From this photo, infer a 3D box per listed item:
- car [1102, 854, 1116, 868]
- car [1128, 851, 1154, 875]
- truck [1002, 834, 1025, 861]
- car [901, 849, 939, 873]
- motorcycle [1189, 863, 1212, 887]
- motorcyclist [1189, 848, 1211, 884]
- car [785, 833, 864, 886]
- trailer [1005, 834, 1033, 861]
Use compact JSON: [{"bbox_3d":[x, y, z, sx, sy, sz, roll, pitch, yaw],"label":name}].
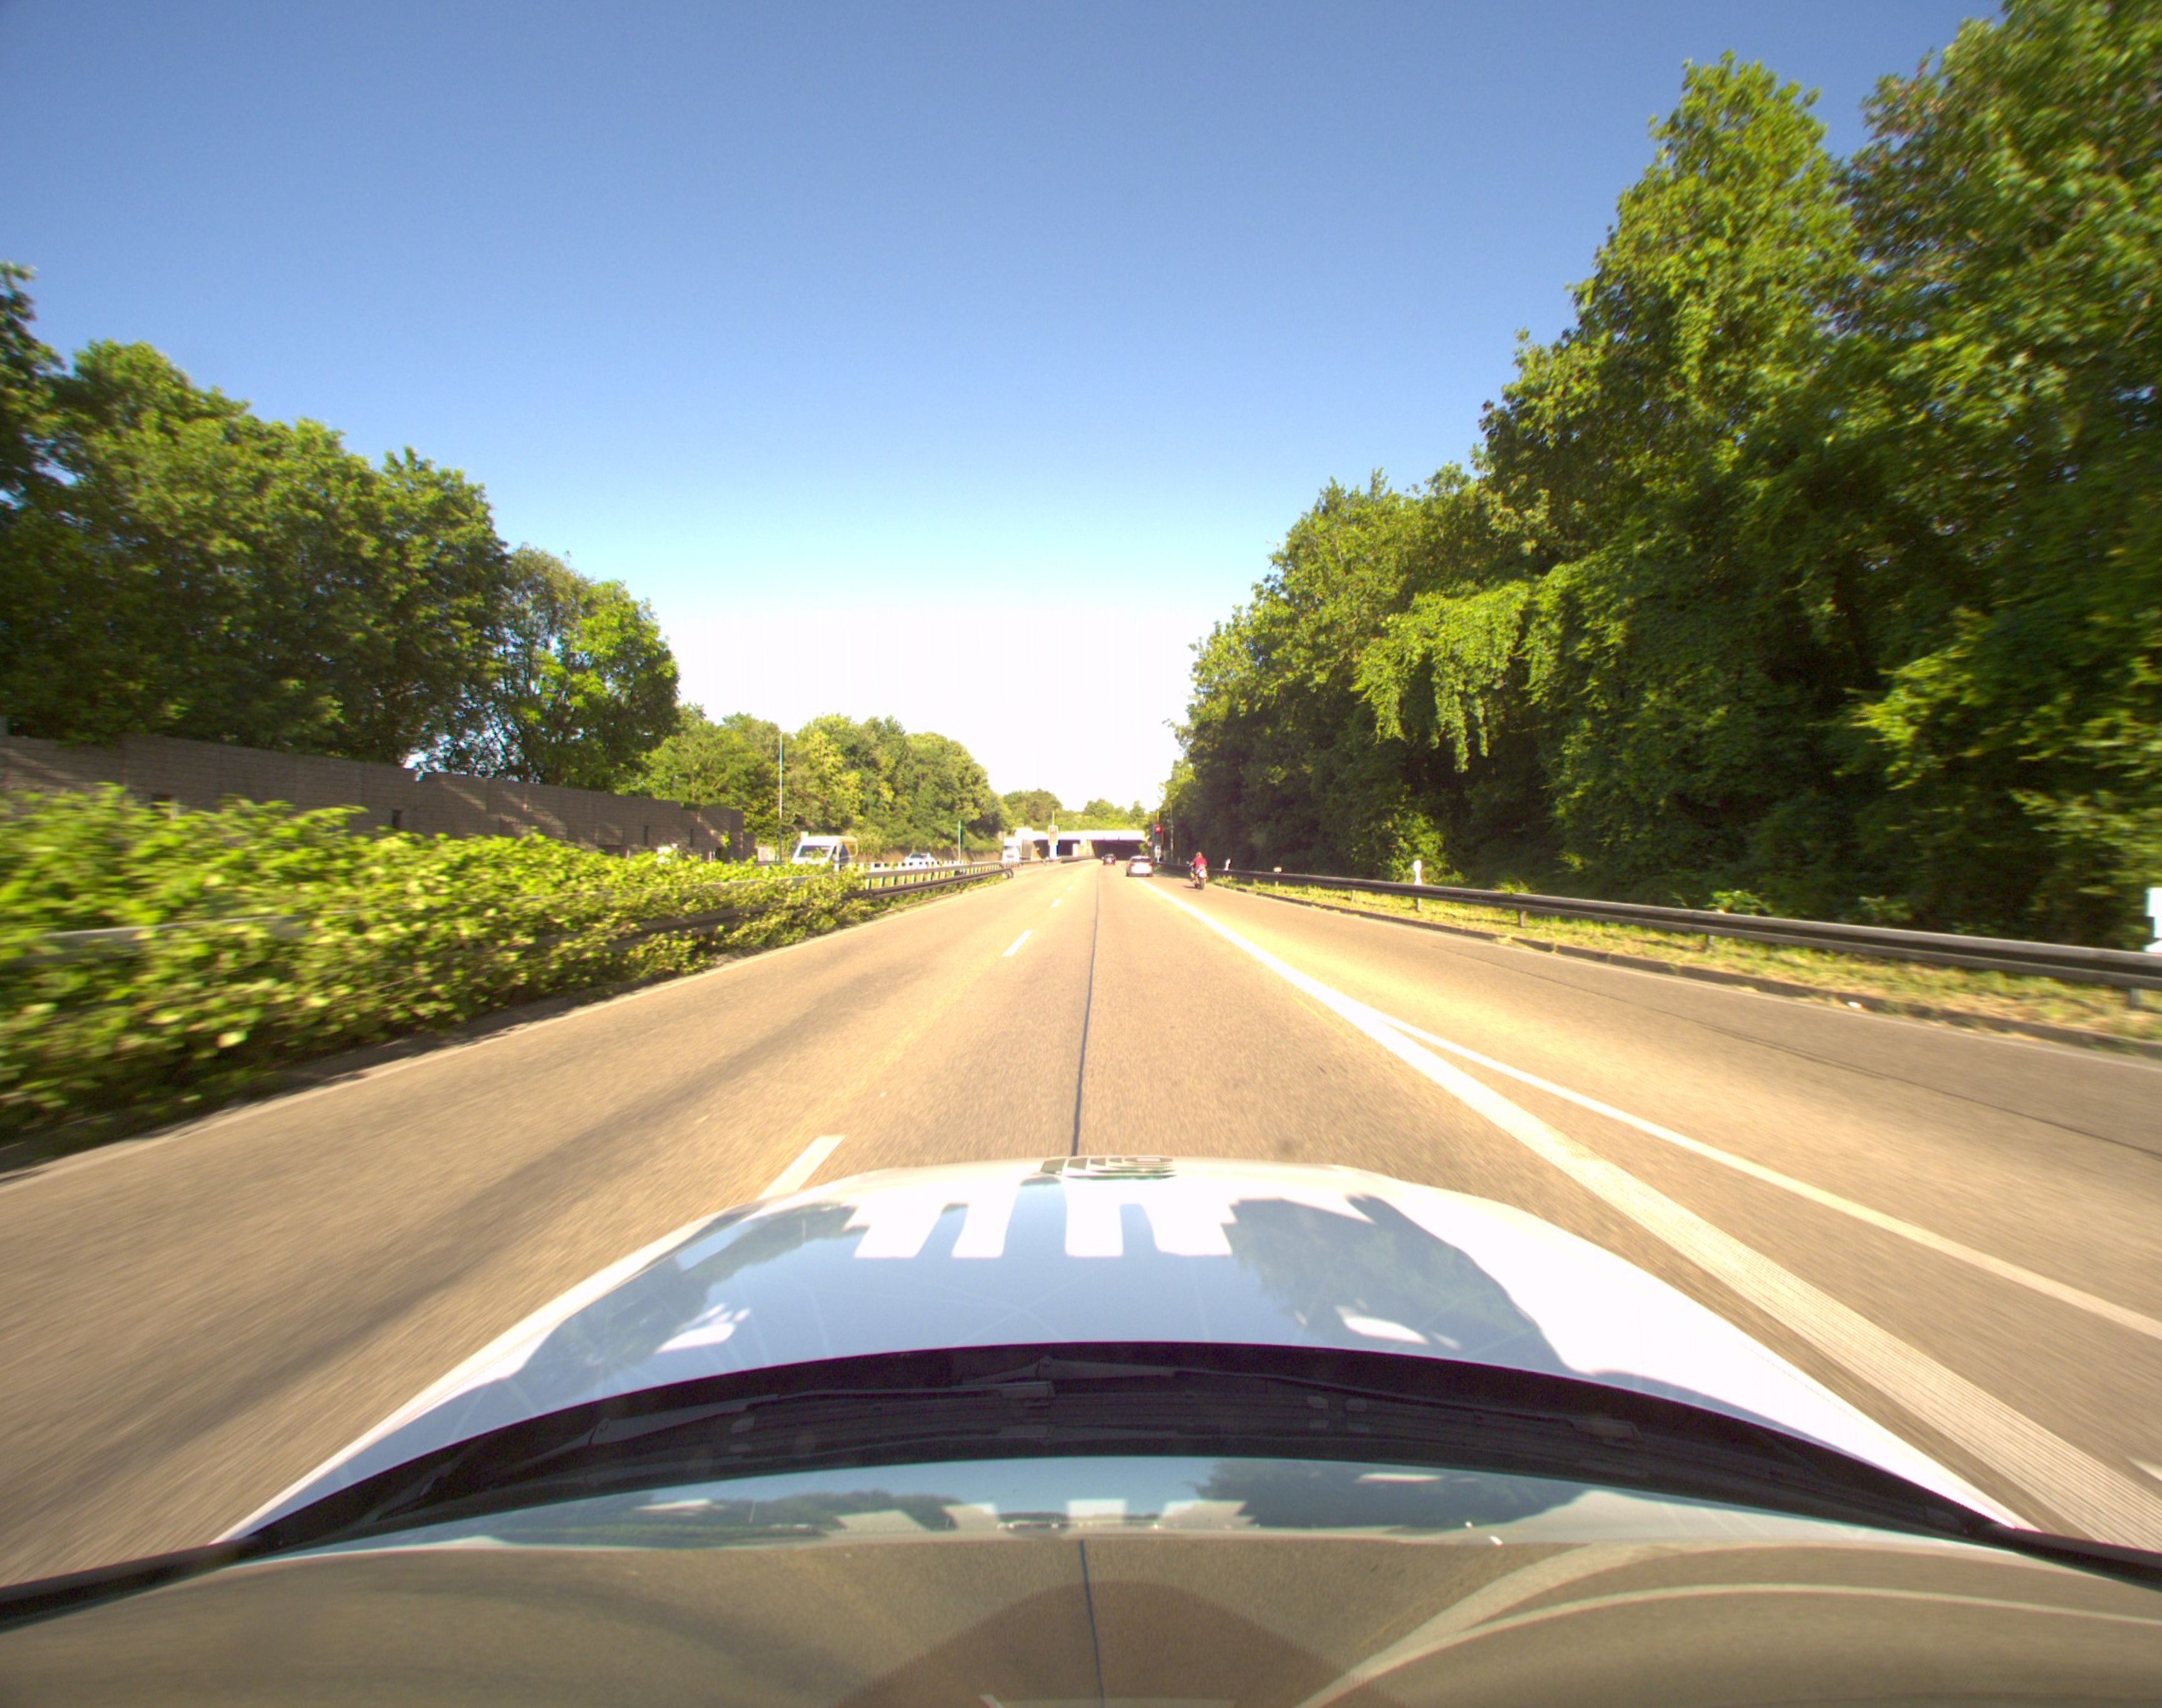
[{"bbox_3d":[4.094,0.983,119.771,1.986,1.925,4.002,0,1,2],"label":"car"},{"bbox_3d":[4.197,0.595,57.744,1.660,1.552,4.003,2,1,2],"label":"car"},{"bbox_3d":[-10.965,-1.083,132.478,2.724,4.261,6.393,2,1,3],"label":"truck"},{"bbox_3d":[-13.079,0.519,66.426,1.986,1.782,4.787,2,1,1],"label":"car"},{"bbox_3d":[5.282,0.926,36.144,0.854,0.991,2.732,1,0,5],"label":"motorcycle"},{"bbox_3d":[5.280,0.522,36.132,0.879,1.501,1.064,2,1,4],"label":"motorcyclist"},{"bbox_3d":[-13.645,0.229,43.827,2.139,2.610,6.054,2,1,1],"label":"car"},{"bbox_3d":[-10.525,-1.191,139.414,2.736,4.279,14.098,2,1,3],"label":"trailer"}]
